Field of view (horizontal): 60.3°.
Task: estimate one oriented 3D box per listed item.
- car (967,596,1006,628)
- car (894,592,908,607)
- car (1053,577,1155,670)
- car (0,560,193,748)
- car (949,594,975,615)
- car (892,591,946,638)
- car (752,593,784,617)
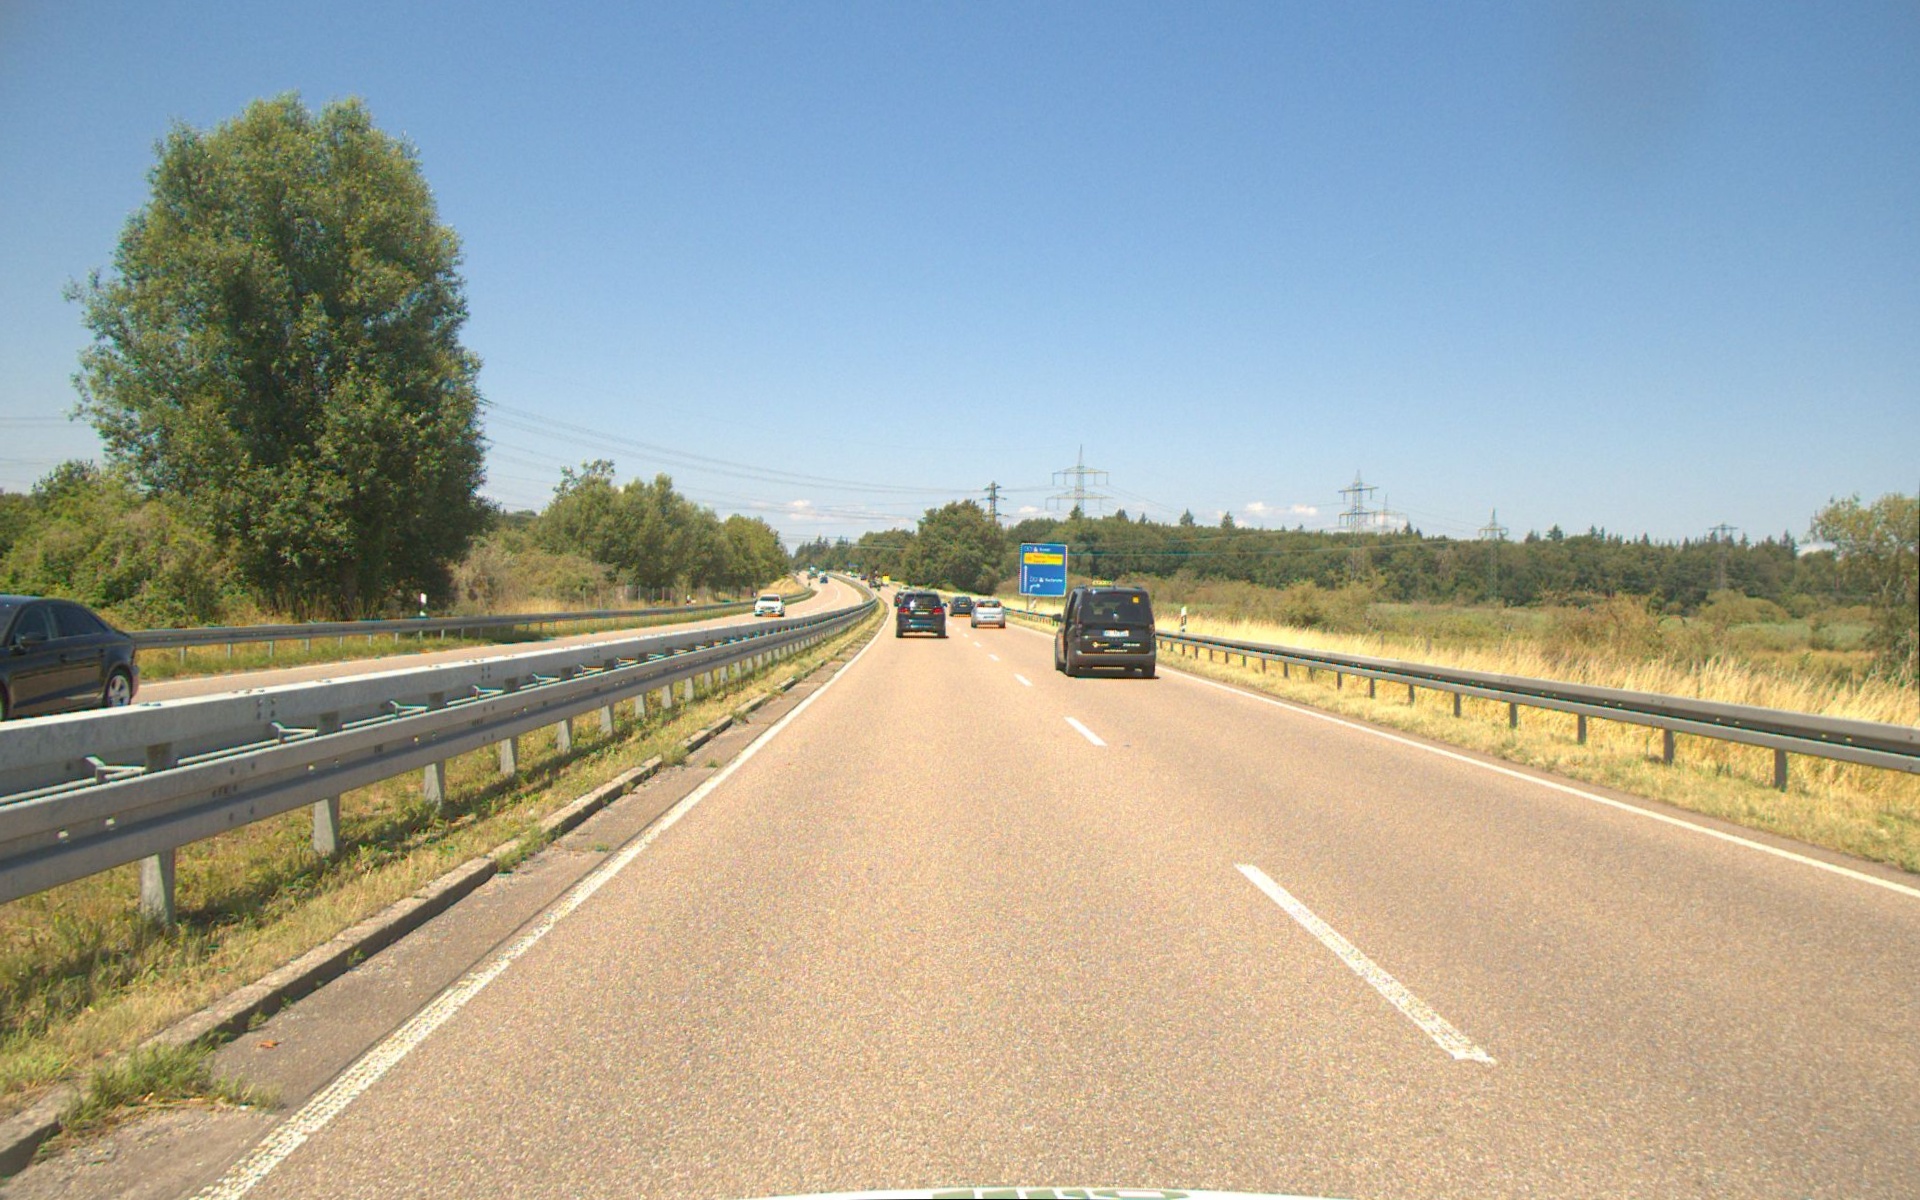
[{"bbox_3d":[1.325,0.576,84.636,1.743,1.505,4.313,2,0,-2],"label":"car"},{"bbox_3d":[-6.548,-0.091,182.671,1.484,1.500,3.065,3,1,-2],"label":"car"},{"bbox_3d":[3.012,0.446,35.316,1.743,1.848,4.212,1,1,-1],"label":"car"},{"bbox_3d":[-9.858,0.466,16.652,1.953,1.665,4.873,4,1,-1],"label":"car"},{"bbox_3d":[0.140,0.317,121.283,1.782,1.439,3.999,0,1,-1],"label":"car"},{"bbox_3d":[-1.607,0.520,63.842,1.953,1.683,3.998,2,0,-2],"label":"car"},{"bbox_3d":[-12.968,0.301,111.704,1.790,1.524,4.101,2,0,-2],"label":"car"}]
